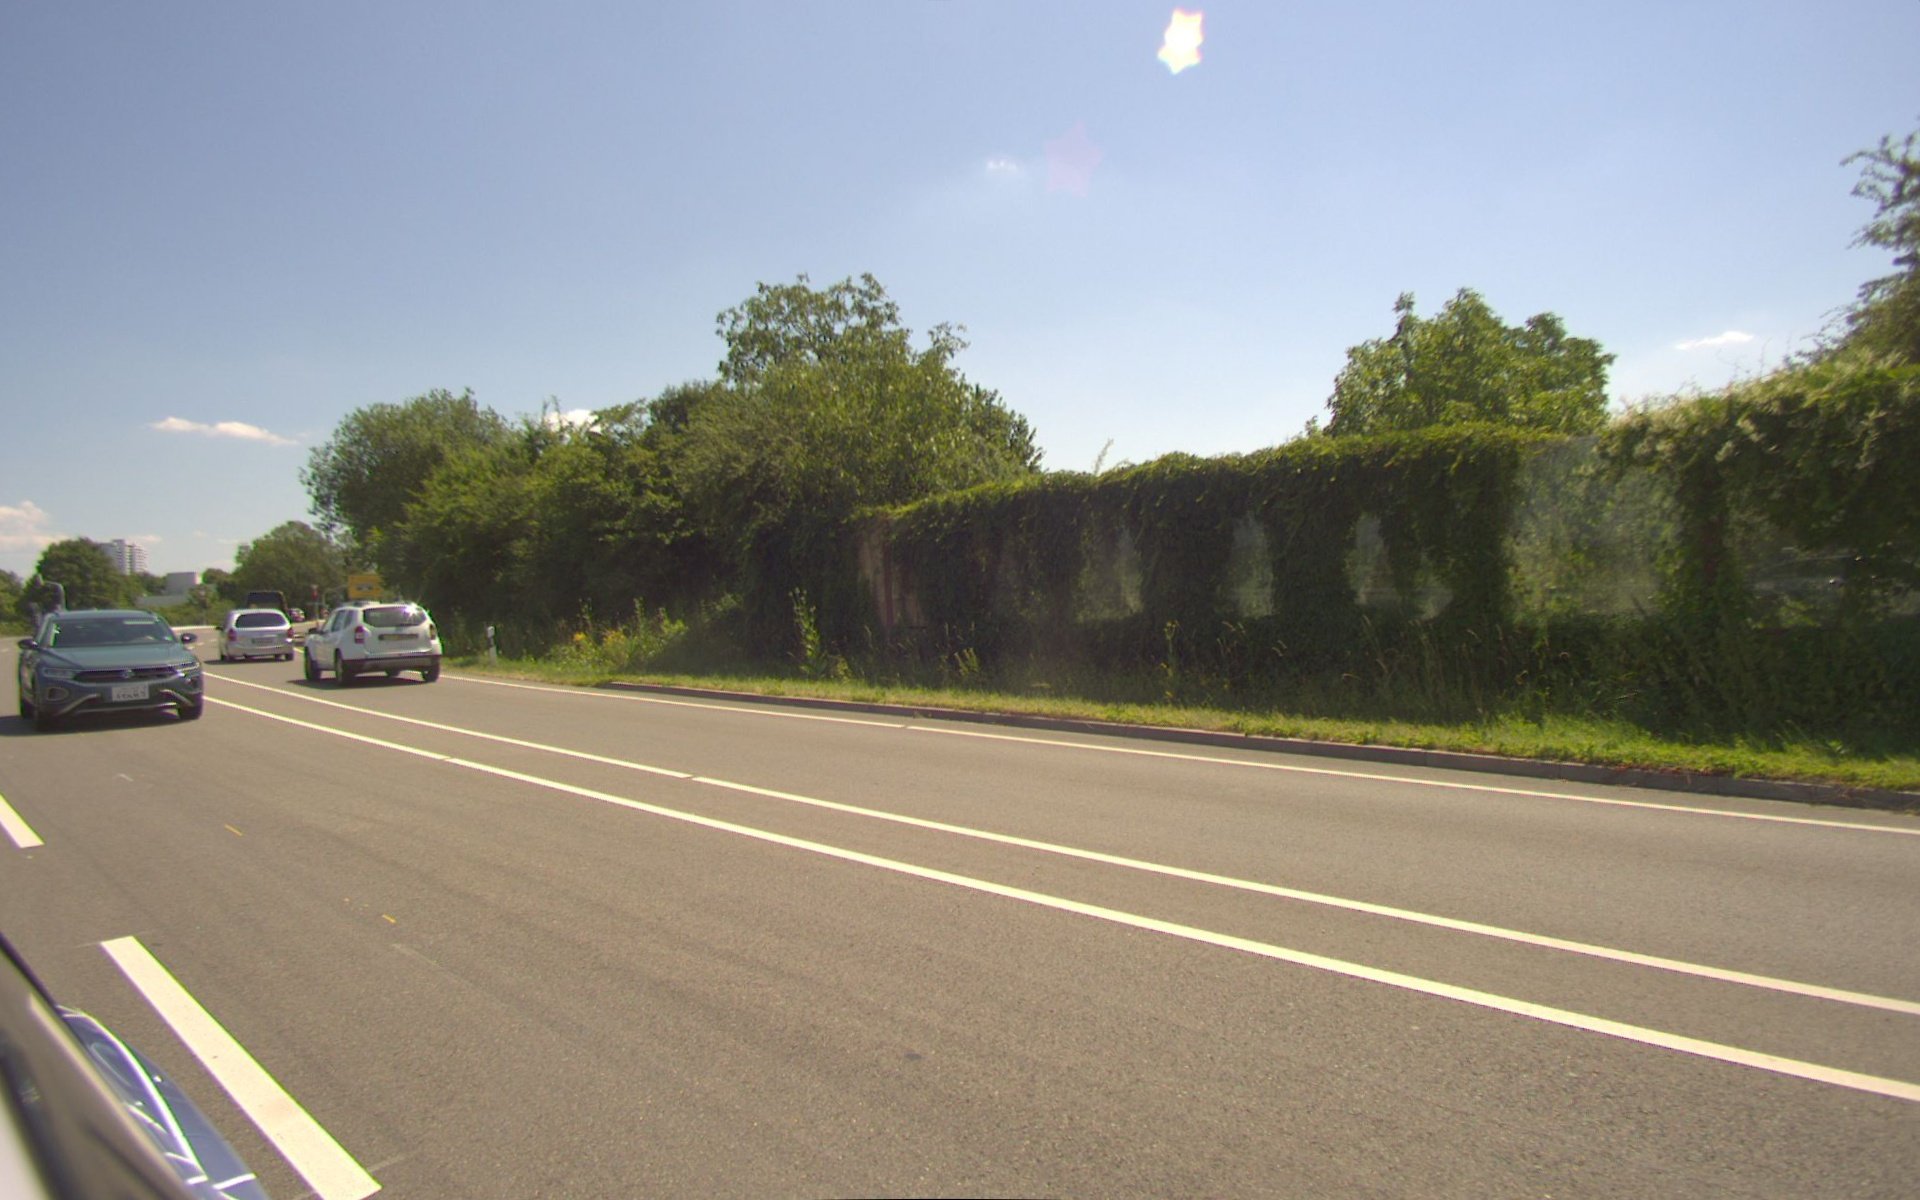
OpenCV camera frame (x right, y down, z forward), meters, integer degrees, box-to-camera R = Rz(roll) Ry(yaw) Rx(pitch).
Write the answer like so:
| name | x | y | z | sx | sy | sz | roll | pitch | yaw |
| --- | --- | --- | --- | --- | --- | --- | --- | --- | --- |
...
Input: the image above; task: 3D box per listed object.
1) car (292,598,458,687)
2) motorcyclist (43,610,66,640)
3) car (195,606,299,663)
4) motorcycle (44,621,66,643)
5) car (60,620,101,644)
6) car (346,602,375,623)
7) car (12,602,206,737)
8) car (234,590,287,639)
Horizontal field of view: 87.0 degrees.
| name | x | y | z | sx | sy | sz | roll | pitch | yaw |
| --- | --- | --- | --- | --- | --- | --- | --- | --- | --- |
| car | -12.273 | 0.818 | 21.108 | 4.199 | 1.641 | 1.971 | -1 | 0 | 45 |
| motorcyclist | -47.520 | 1.312 | 53.098 | 1.162 | 1.499 | 0.848 | -2 | -2 | 45 |
| car | -22.246 | 1.032 | 31.498 | 4.819 | 1.605 | 1.816 | -1 | 0 | 45 |
| motorcycle | -47.520 | 1.677 | 53.132 | 0.724 | 1.147 | 2.074 | 1 | -2 | -45 |
| car | -63.468 | 2.266 | 73.065 | 2.085 | 1.603 | 4.458 | -2 | 1 | -39 |
| car | -61.659 | 1.273 | 104.194 | 2.047 | 2.029 | 5.826 | -2 | 1 | -26 |
| car | -12.326 | 0.880 | 14.552 | 1.813 | 1.598 | 4.394 | -2 | 0 | -44 |
| car | -39.364 | 0.782 | 57.033 | 2.158 | 2.560 | 6.054 | -2 | 1 | -33 |
